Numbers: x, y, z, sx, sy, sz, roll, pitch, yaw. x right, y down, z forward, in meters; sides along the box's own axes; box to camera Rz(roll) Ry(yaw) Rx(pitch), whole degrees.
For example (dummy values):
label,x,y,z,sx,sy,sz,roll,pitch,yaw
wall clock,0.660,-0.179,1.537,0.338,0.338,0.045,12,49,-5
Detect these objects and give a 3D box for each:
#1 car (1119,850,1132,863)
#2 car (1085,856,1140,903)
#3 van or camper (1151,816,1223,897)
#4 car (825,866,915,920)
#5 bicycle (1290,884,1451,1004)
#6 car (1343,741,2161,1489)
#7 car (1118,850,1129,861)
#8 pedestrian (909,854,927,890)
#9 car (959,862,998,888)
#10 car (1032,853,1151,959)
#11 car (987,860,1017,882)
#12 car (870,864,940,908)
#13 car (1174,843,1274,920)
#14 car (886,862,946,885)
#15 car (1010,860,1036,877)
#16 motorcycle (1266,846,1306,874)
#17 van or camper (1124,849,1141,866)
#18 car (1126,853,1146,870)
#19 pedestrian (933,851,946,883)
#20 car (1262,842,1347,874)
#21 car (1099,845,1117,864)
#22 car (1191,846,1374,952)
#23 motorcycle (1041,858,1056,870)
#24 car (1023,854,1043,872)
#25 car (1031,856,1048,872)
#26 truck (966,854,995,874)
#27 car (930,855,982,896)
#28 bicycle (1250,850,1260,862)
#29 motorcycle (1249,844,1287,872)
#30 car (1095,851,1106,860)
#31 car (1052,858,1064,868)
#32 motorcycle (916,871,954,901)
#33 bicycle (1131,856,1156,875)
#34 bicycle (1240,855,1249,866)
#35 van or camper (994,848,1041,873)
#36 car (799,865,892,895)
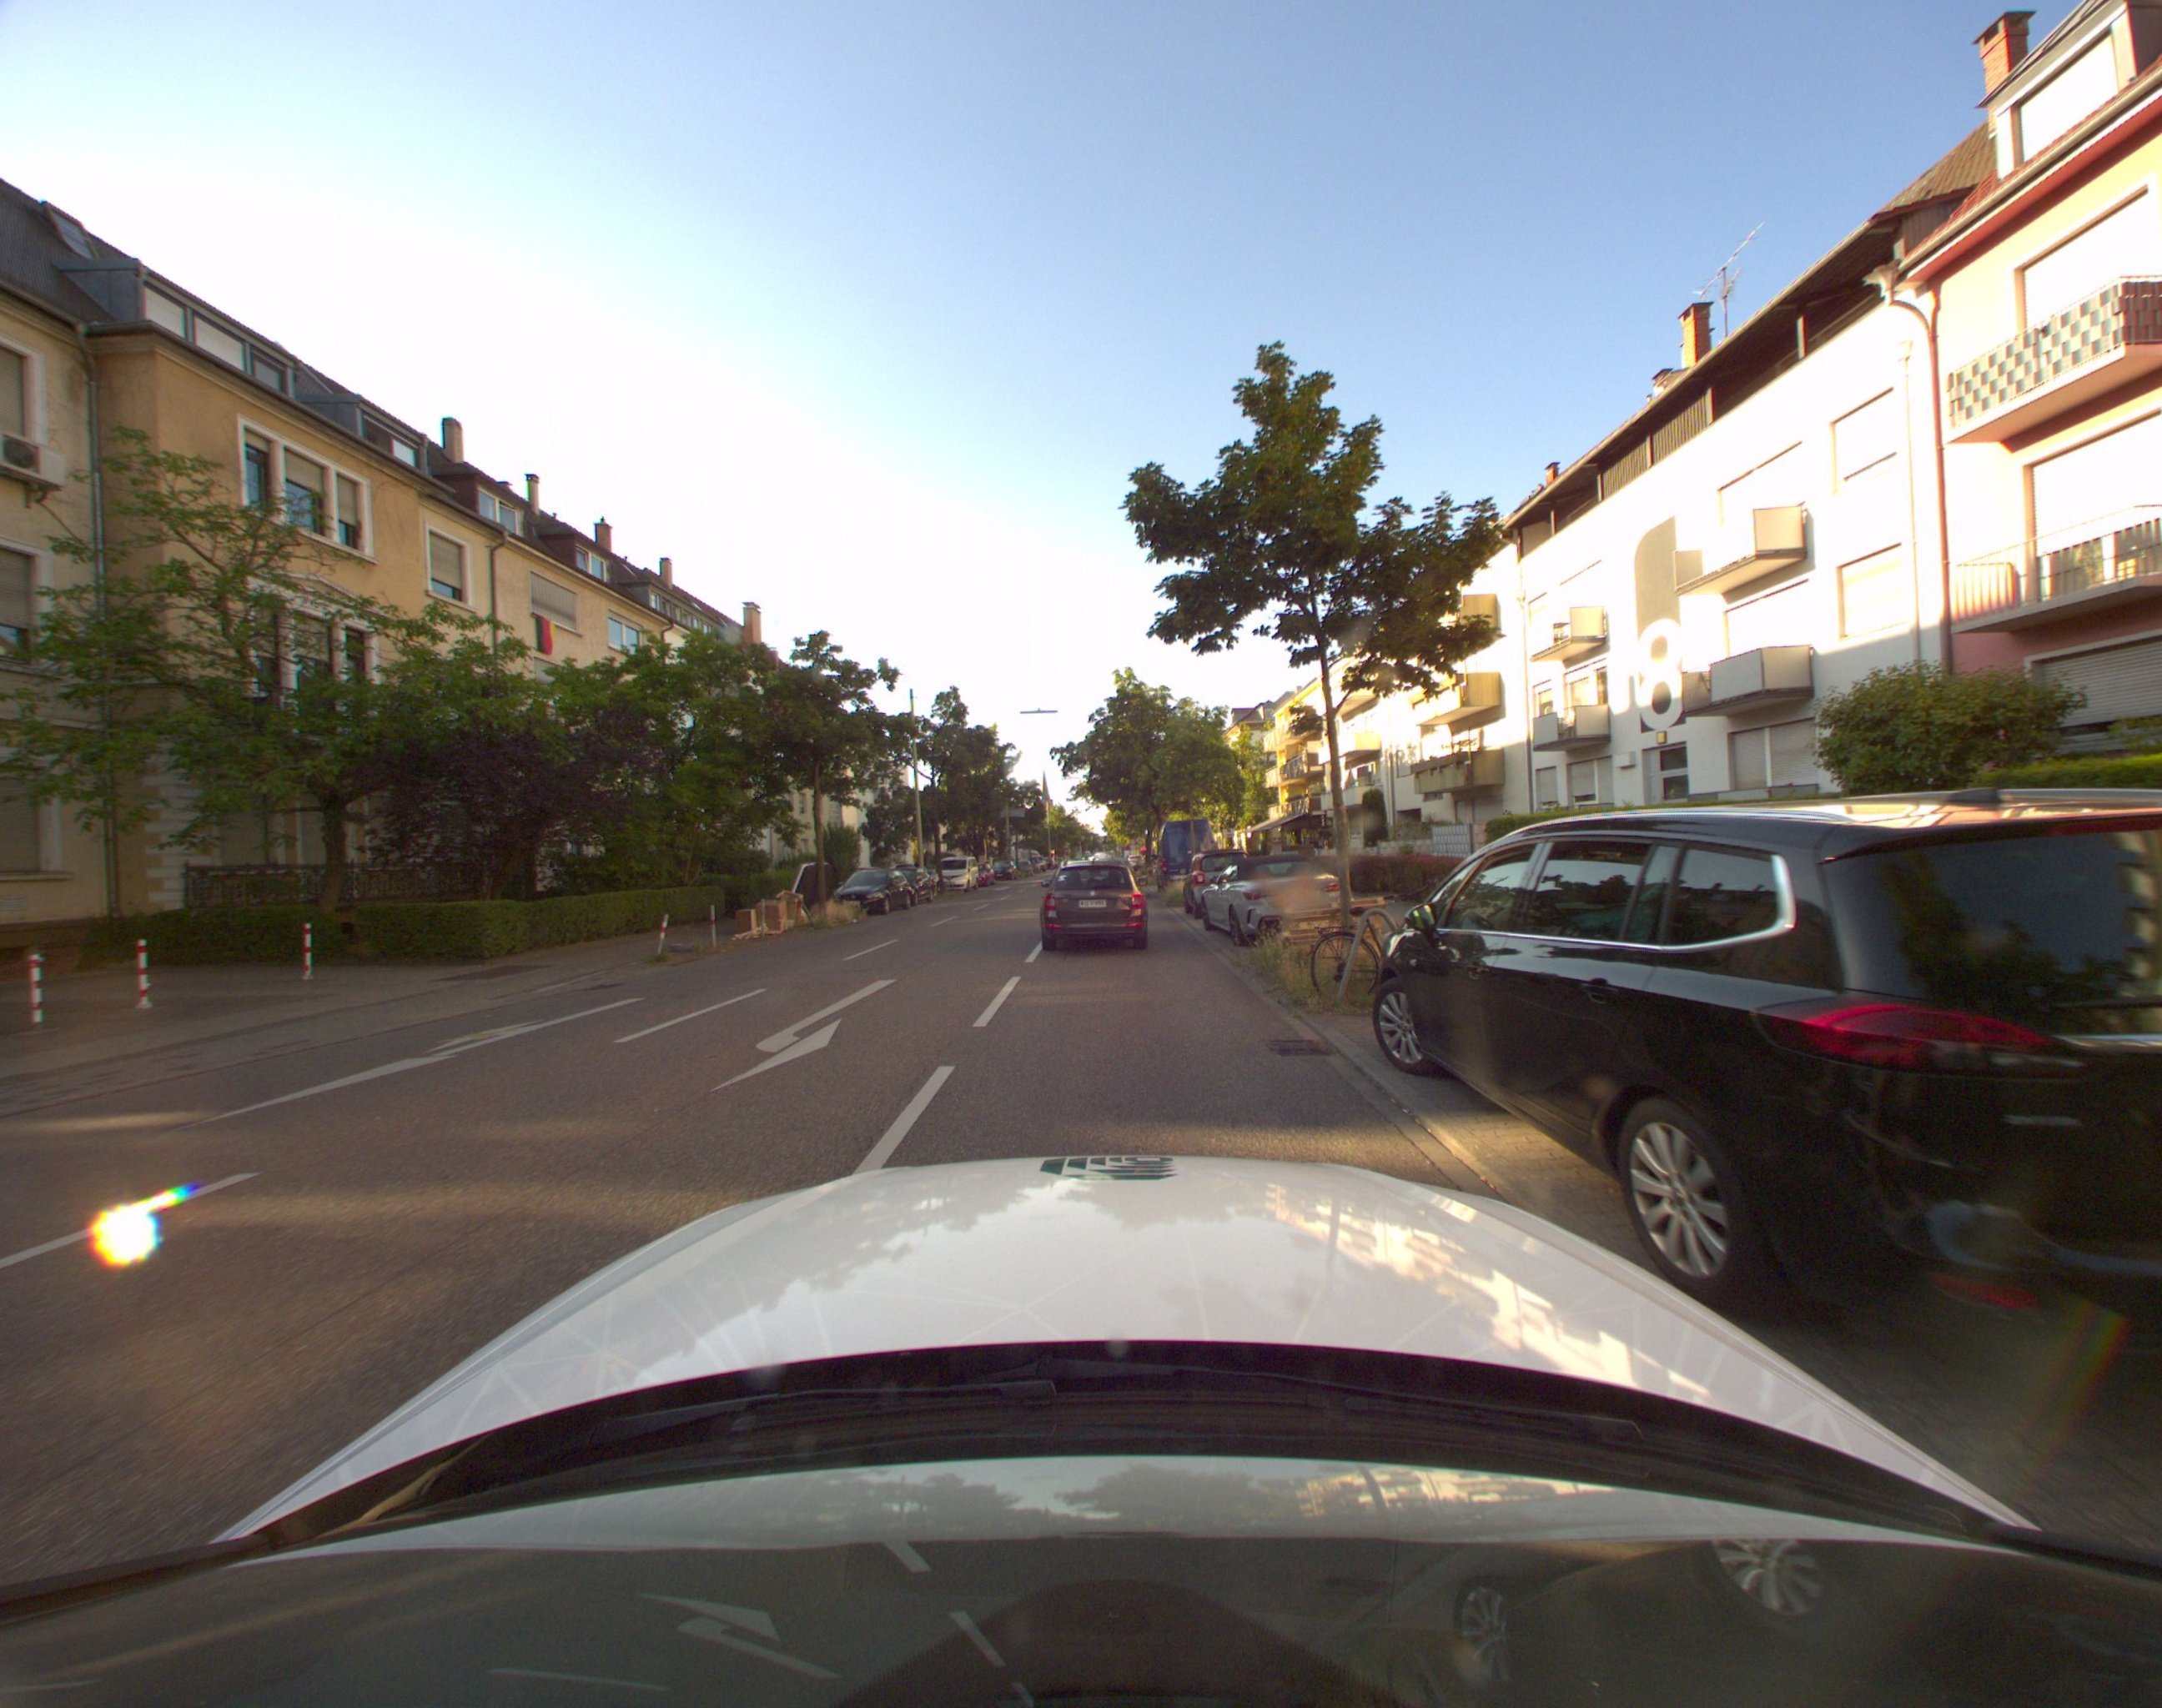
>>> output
label,x,y,z,sx,sy,sz,roll,pitch,yaw
car,6.704,0.333,123.816,1.724,1.815,3.951,-3,0,0
car,1.093,0.893,29.966,1.725,1.493,3.948,-3,0,-2
van or camper,3.884,0.119,30.969,2.060,2.675,5.992,-3,-1,2
car,-7.008,1.259,27.474,1.743,1.502,4.199,-3,0,2
bicycle,2.894,0.877,8.156,1.477,1.059,0.410,-3,0,-11
car,2.794,0.542,3.954,1.726,1.651,4.293,-3,0,2
car,7.092,0.237,136.309,1.724,1.815,3.951,-3,0,0
pedestrian,-9.394,1.015,47.007,0.764,2.013,0.976,-3,0,1
car,-6.270,1.265,50.100,1.710,1.421,3.788,-3,0,2
car,0.271,0.789,14.239,1.722,1.493,3.954,-3,0,3
car,-5.979,1.269,62.103,1.710,1.497,4.250,-3,0,2
car,-6.917,1.224,32.420,1.743,1.502,3.980,-3,0,2
car,3.434,0.637,20.183,1.767,1.642,3.757,-3,-1,0
car,-11.989,1.427,59.327,3.977,1.479,1.999,-2,0,-2
car,-5.192,1.290,73.806,1.747,1.420,4.428,-3,0,3
motorcycle,12.491,0.373,49.663,2.182,1.621,0.892,-3,0,8
van or camper,6.347,0.443,100.511,1.986,2.013,4.002,-3,0,2
car,5.182,0.671,76.621,1.813,1.413,4.116,-3,0,4
pedestrian,-8.977,0.832,51.810,0.624,2.013,0.616,-3,0,1
car,11.946,0.209,43.657,3.976,1.462,1.823,-3,0,-2
car,2.639,0.038,79.388,1.726,1.651,3.543,-3,0,2
car,3.316,0.651,14.463,1.915,1.486,4.743,-3,0,-2
motorcycle,-4.057,1.239,101.798,0.771,1.512,2.006,-3,0,-41
car,-5.056,0.960,86.784,1.743,1.740,3.592,-3,0,2
car,-4.614,1.107,91.444,1.501,1.757,3.695,-3,0,2
truck,-10.888,1.080,88.366,2.903,2.093,1.546,-3,0,1
car,-6.507,1.078,42.815,1.763,1.919,4.462,-3,0,2
bicycle,13.968,0.169,65.471,0.341,0.950,1.580,-5,0,-4
motorcycle,11.596,0.265,50.632,2.182,1.621,0.733,-3,0,8
car,4.251,0.236,176.734,1.865,1.757,4.191,-3,0,10
car,-3.542,1.356,128.095,1.658,1.432,3.276,-3,0,2
motorcycle,-6.445,1.409,35.960,0.436,1.192,1.718,-3,0,39
bicycle,4.653,0.851,60.862,1.658,1.226,0.638,-5,0,14
bicycle,13.249,0.528,66.073,0.341,0.950,1.580,0,-1,-3
van or camper,-10.712,1.071,138.142,7.616,3.874,2.000,-3,0,-1
car,-13.039,1.441,45.396,4.713,1.362,1.992,-3,0,-12
